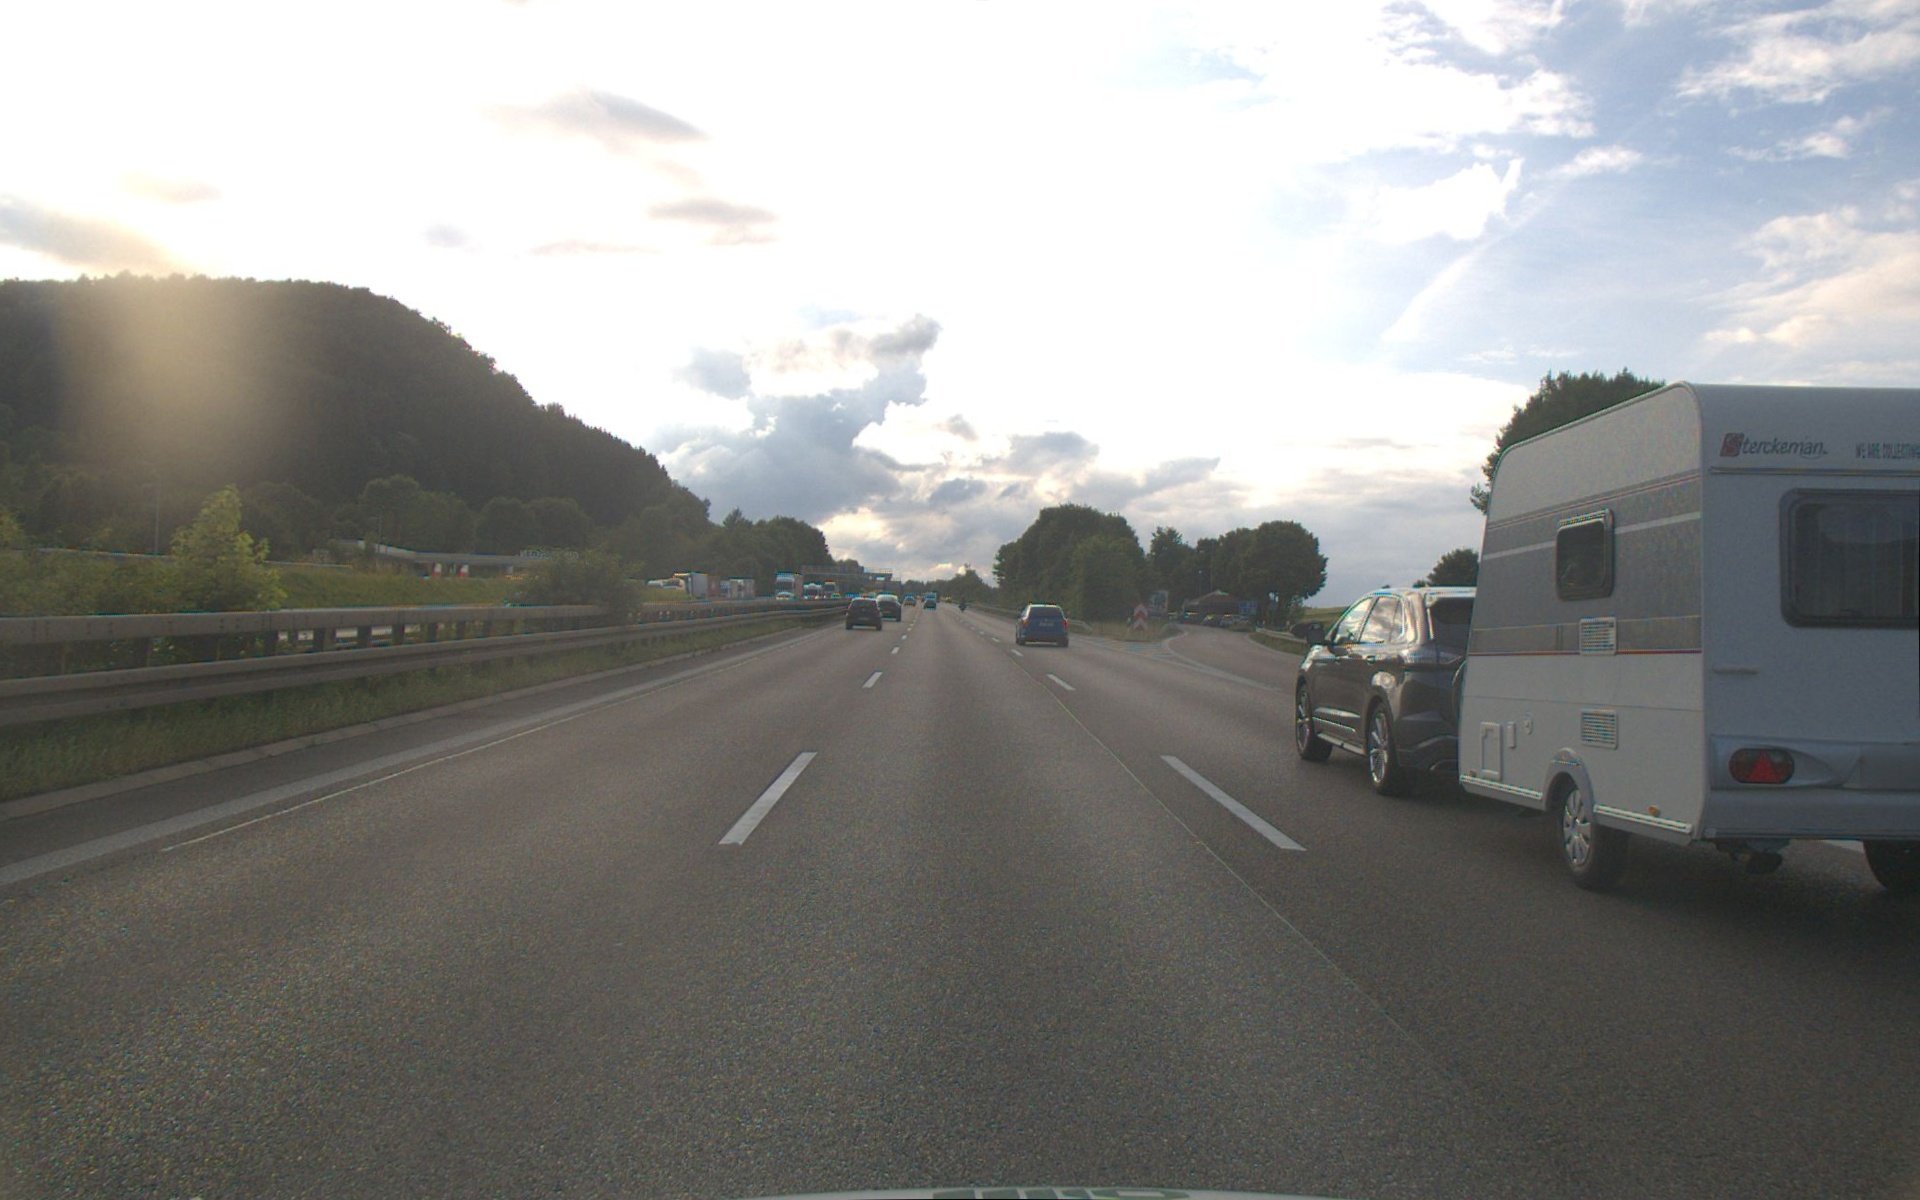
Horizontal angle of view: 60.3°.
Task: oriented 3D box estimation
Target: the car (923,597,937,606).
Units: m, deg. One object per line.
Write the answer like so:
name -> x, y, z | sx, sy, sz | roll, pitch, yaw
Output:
car -> -4.293, 0.267, 236.268 | 1.717, 1.243, 3.995 | -2, 0, -5

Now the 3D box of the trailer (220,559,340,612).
trailer -> -40.841, -0.781, 99.843 | 2.526, 2.903, 11.379 | 0, -1, 0

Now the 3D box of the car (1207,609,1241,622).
car -> 32.579, 1.880, 204.005 | 4.272, 1.583, 1.960 | 1, -2, -42

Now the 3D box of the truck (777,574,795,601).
truck -> -23.846, -1.730, 226.382 | 1.953, 3.473, 6.735 | 0, -1, -2

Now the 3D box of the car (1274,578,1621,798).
car -> 4.182, 0.664, 14.973 | 1.750, 1.681, 4.480 | 0, 0, -1

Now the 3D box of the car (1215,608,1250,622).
car -> 32.632, 1.766, 198.187 | 4.272, 1.583, 1.960 | 1, -2, -42

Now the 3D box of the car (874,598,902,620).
car -> -4.885, 0.608, 112.679 | 1.533, 1.404, 4.001 | -2, 0, 1

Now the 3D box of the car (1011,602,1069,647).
car -> 2.793, 0.844, 58.441 | 1.731, 1.458, 3.999 | -1, 1, -2

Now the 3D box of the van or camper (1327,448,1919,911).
van or camper -> 4.351, 0.368, 10.873 | 2.497, 2.278, 5.326 | 0, 0, -2

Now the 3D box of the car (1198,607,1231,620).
car -> 33.198, 1.794, 215.625 | 4.272, 1.583, 1.960 | 1, -2, -42

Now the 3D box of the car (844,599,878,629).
car -> -4.680, 0.642, 78.013 | 1.508, 1.371, 3.673 | -2, 0, -4
